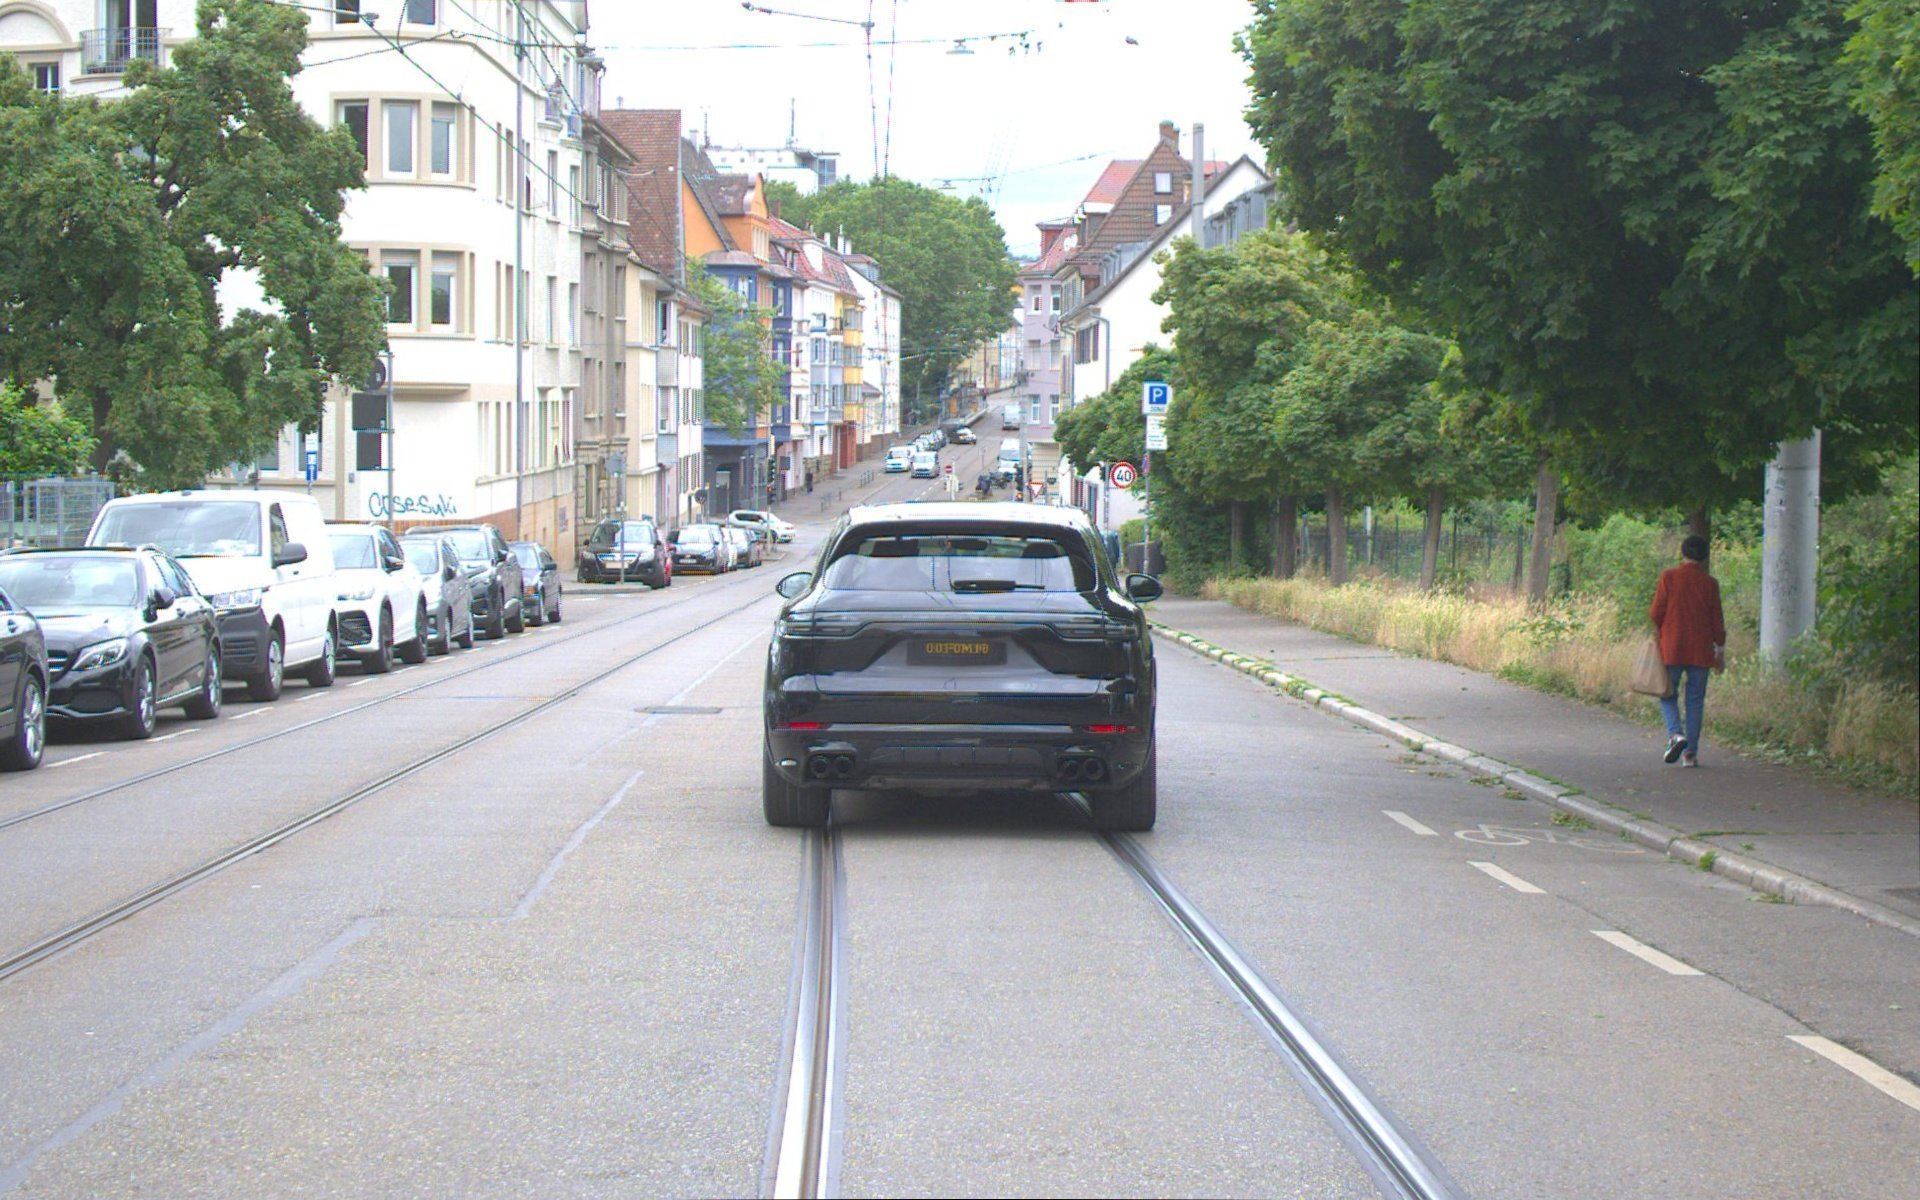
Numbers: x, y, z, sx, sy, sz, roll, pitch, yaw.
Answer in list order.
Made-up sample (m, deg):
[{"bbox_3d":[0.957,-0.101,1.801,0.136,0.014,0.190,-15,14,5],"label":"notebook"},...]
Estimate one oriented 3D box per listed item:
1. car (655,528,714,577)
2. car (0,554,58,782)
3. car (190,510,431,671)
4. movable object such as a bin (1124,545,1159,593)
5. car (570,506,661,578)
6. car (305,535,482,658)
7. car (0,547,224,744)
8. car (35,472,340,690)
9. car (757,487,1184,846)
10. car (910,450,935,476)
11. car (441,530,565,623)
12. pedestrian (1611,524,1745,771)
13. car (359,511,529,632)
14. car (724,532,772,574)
[{"bbox_3d":[-8.464,-1.446,105.858,1.620,1.458,4.033,0,0,-2],"label":"car"},{"bbox_3d":[-6.733,0.416,20.201,1.840,1.382,4.440,0,0,-2],"label":"car"},{"bbox_3d":[-7.159,-0.108,38.322,1.969,1.681,4.633,0,0,-2],"label":"car"},{"bbox_3d":[4.732,-0.810,89.616,0.792,1.214,0.789,1,1,-4],"label":"movable object such as a bin"},{"bbox_3d":[-8.122,-1.350,81.385,1.867,1.640,4.402,0,0,-2],"label":"car"},{"bbox_3d":[-7.178,-0.052,43.871,1.738,1.504,3.869,0,0,-2],"label":"car"},{"bbox_3d":[-6.993,0.314,26.453,1.840,1.382,4.518,0,0,-2],"label":"car"},{"bbox_3d":[-7.198,-0.171,32.500,1.969,1.906,4.735,0,0,-2],"label":"car"},{"bbox_3d":[0.012,0.290,18.226,1.993,1.670,4.000,1,1,-1],"label":"car"},{"bbox_3d":[-2.758,-10.041,251.607,1.751,1.754,4.254,1,1,0],"label":"car"},{"bbox_3d":[-7.493,-0.380,56.629,1.620,1.472,4.156,0,0,-2],"label":"car"},{"bbox_3d":[4.798,0.310,22.999,0.715,1.615,0.719,1,1,-1],"label":"pedestrian"},{"bbox_3d":[-7.456,-0.403,50.047,1.969,1.681,4.445,0,0,-2],"label":"car"},{"bbox_3d":[-7.726,-1.693,125.383,1.620,1.468,4.556,0,0,-2],"label":"car"}]
